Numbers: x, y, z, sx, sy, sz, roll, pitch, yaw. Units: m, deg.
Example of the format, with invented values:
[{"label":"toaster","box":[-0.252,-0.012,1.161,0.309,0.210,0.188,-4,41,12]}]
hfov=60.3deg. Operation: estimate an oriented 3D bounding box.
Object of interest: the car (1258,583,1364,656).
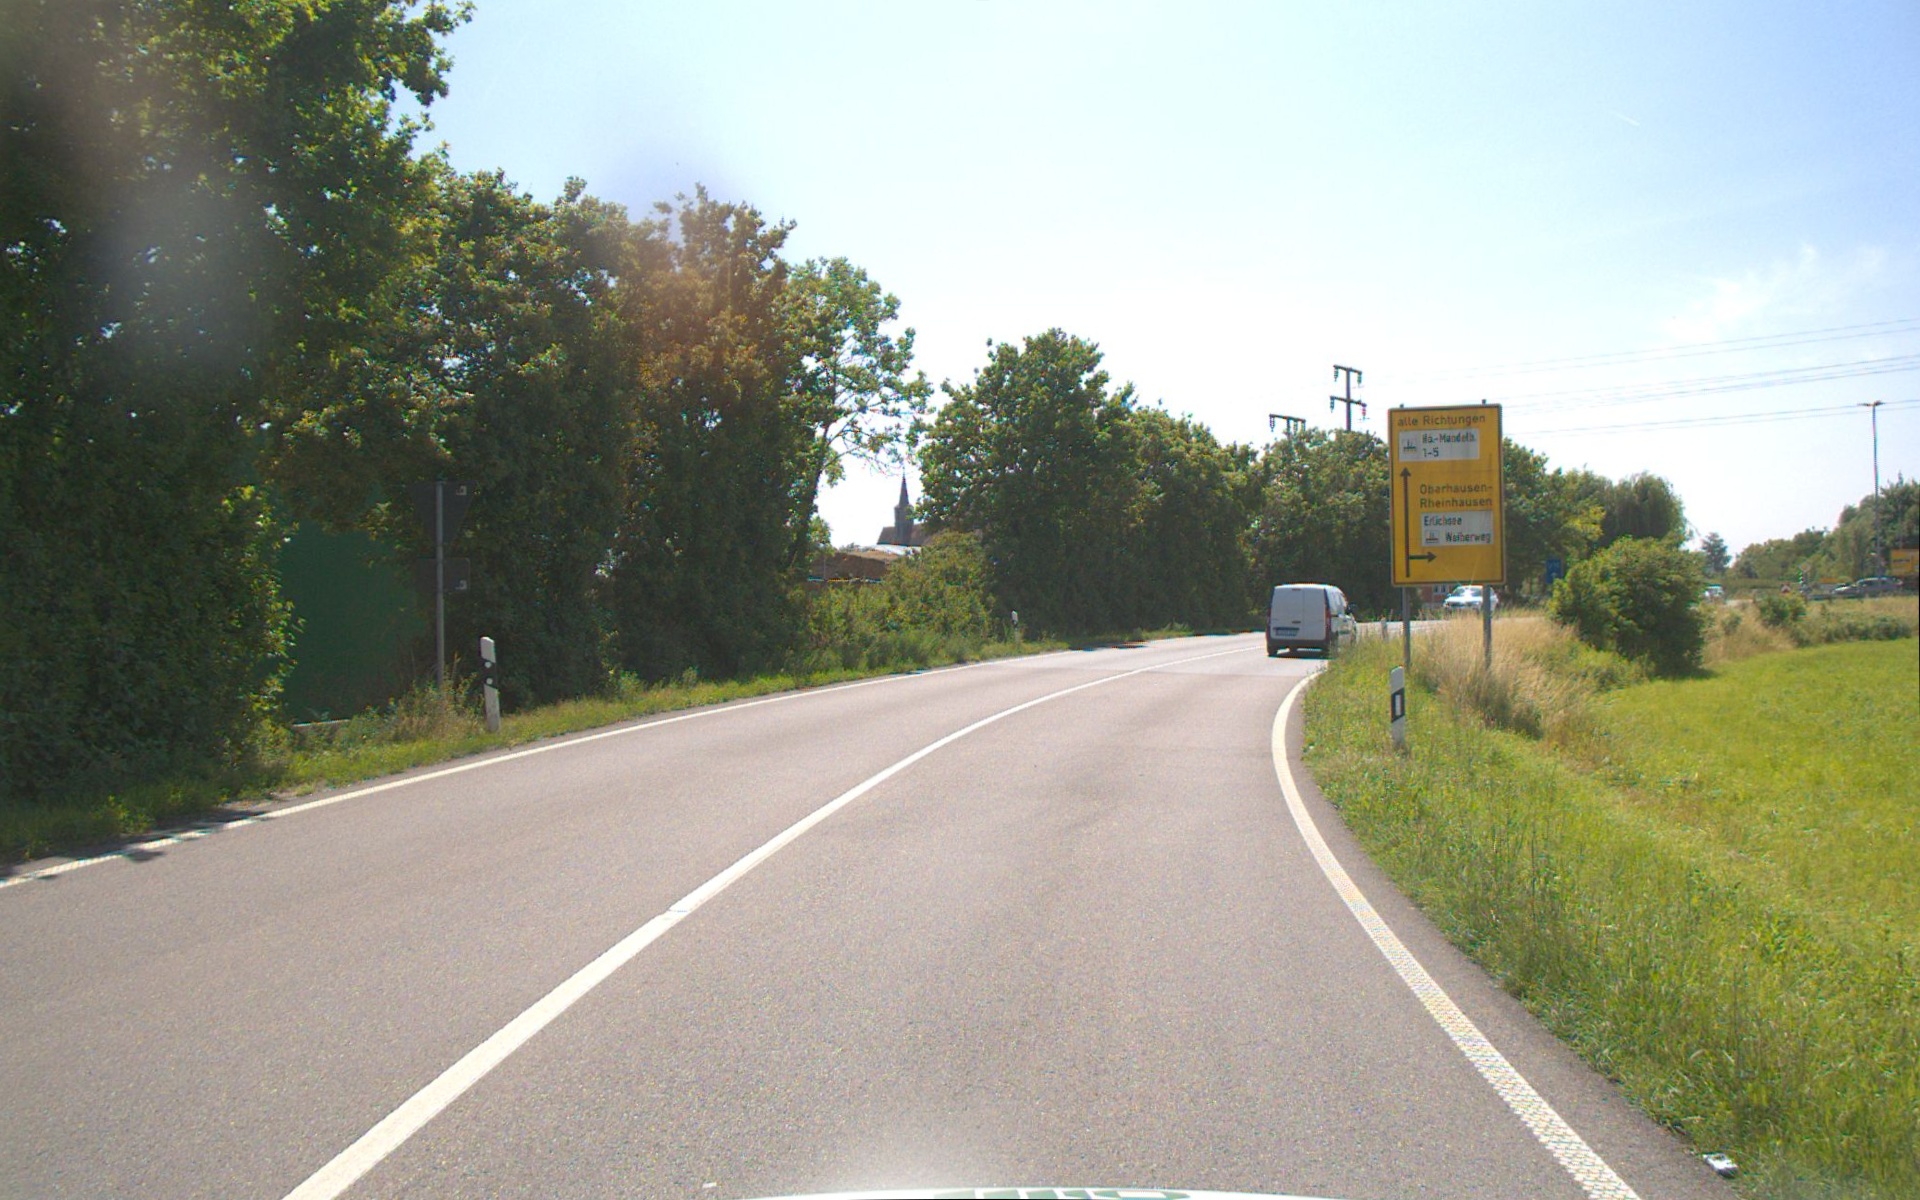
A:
[{"label":"car","box":[9.073,0.489,42.591,1.865,1.763,3.820,-1,-1,24]}]

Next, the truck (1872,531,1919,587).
[{"label":"truck","box":[60.490,-2.416,100.680,8.609,3.192,3.102,1,-1,-8]}]

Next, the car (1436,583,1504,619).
[{"label":"car","box":[24.453,0.027,79.200,1.823,1.629,4.762,1,1,34]}]

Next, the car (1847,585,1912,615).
[{"label":"car","box":[64.760,-0.017,116.453,3.916,2.049,1.994,0,-1,33]}]
